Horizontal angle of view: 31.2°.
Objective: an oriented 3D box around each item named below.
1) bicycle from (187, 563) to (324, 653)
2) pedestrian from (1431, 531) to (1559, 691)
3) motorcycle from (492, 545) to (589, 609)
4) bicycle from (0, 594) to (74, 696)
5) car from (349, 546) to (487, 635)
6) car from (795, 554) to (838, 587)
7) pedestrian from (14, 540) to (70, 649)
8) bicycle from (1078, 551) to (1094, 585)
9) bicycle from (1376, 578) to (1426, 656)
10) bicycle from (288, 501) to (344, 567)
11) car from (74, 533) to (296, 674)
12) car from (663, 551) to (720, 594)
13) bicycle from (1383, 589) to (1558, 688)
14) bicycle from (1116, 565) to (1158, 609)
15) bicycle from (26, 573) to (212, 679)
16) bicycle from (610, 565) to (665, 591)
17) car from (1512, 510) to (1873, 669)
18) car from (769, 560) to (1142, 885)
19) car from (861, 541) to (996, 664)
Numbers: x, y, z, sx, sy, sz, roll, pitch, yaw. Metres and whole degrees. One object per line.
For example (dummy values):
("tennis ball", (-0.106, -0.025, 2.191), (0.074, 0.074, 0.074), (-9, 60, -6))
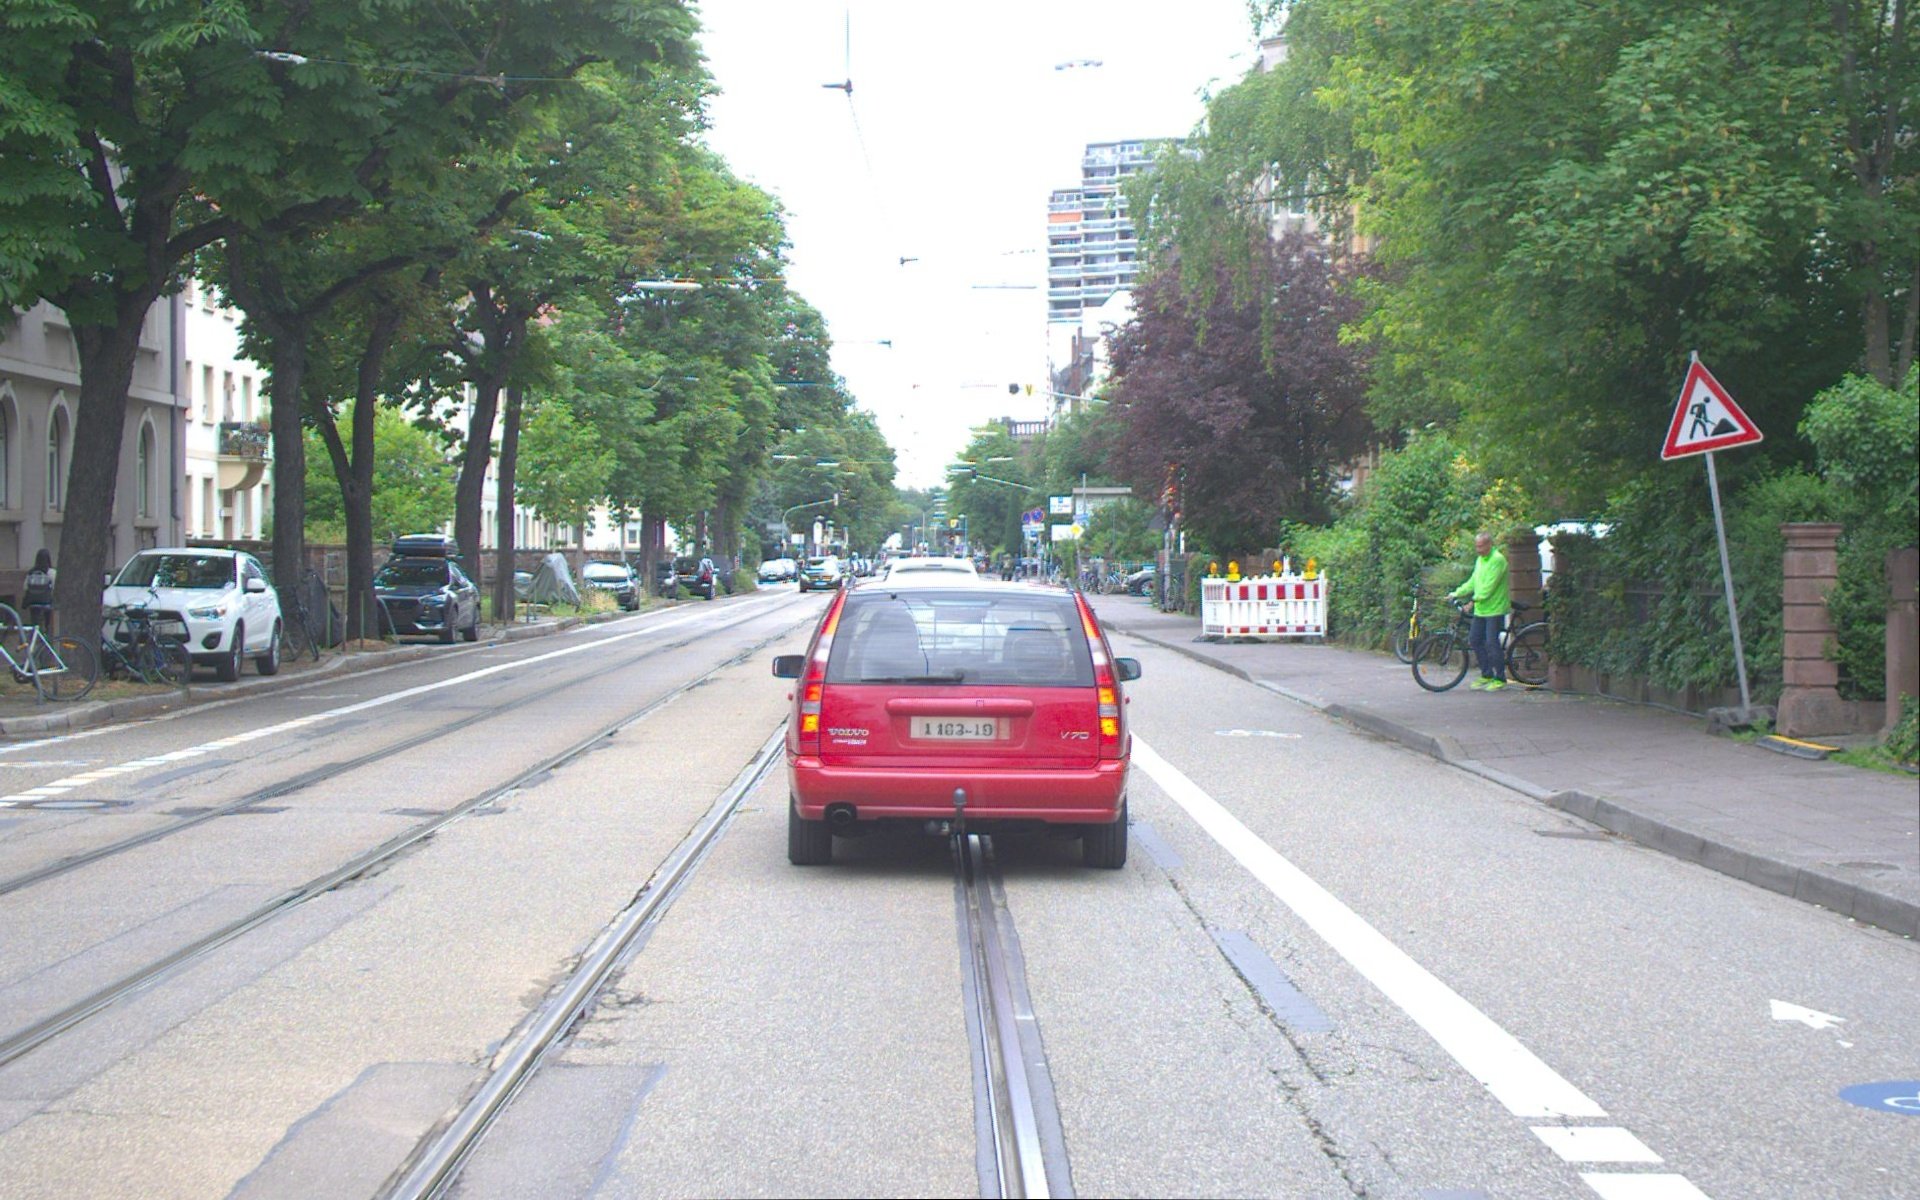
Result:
("bicycle", (-9.913, 0.107, 48.371), (1.744, 1.188, 0.652), (2, 1, 14))
("pedestrian", (5.868, 0.108, 37.775), (1.228, 1.727, 1.018), (0, 1, -1))
("motorcycle", (-10.240, -0.561, 83.834), (2.269, 1.506, 0.925), (1, -1, 35))
("bicycle", (-9.134, 0.428, 33.738), (0.483, 0.955, 1.398), (0, 1, 2))
("car", (-9.760, -0.199, 62.151), (1.777, 1.505, 4.238), (1, 1, 0))
("car", (-6.110, -1.273, 146.765), (1.755, 1.375, 4.027), (0, 1, -1))
("pedestrian", (-12.435, -0.080, 46.597), (0.564, 1.462, 0.723), (0, 1, 0))
("bicycle", (5.119, -1.301, 139.899), (0.551, 1.395, 1.734), (0, 1, 0))
("bicycle", (6.014, 0.222, 46.964), (0.479, 1.041, 1.531), (0, 1, 0))
("bicycle", (-13.801, -1.411, 73.694), (0.792, 1.377, 2.141), (0, 0, 0))
("car", (-9.612, 0.006, 42.934), (1.897, 1.650, 4.226), (1, 1, -2))
("car", (-10.065, -1.050, 128.890), (1.851, 1.558, 3.943), (1, 1, 0))
("bicycle", (5.648, 0.422, 38.085), (1.841, 1.072, 0.606), (0, 1, -1))
("bicycle", (6.163, -0.460, 119.529), (0.918, 1.502, 2.379), (1, 1, 16))
("bicycle", (-9.522, 0.287, 38.938), (1.922, 1.117, 0.624), (2, 1, -1))
("bicycle", (-10.692, -0.738, 114.104), (1.749, 0.841, 0.684), (1, 1, 1))
("car", (8.843, -0.138, 41.706), (3.987, 1.852, 1.809), (0, 1, 0))
("car", (-0.040, 0.545, 17.760), (1.689, 1.436, 3.743), (1, 1, -1))
("car", (-0.393, 0.007, 47.548), (1.719, 1.619, 3.941), (1, 1, 1))
